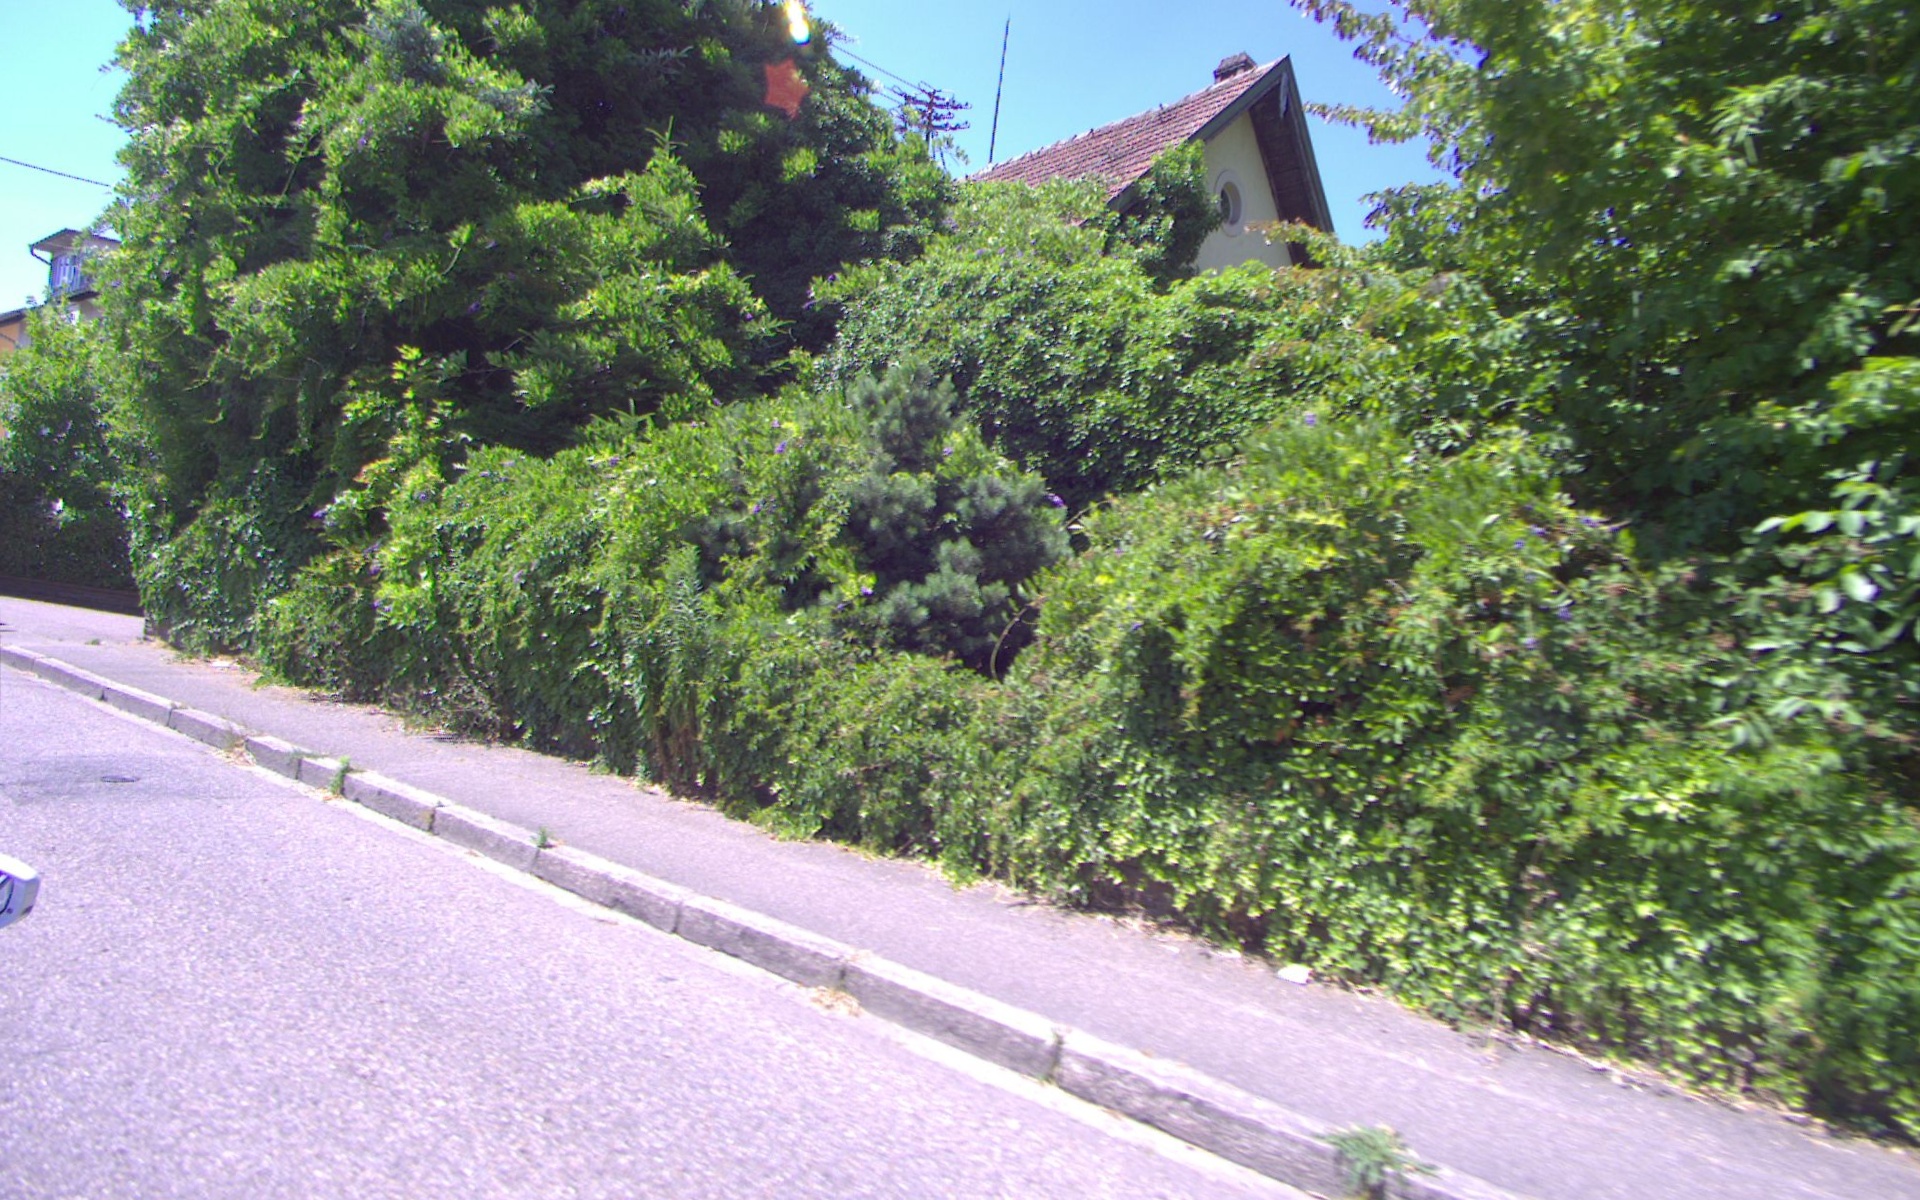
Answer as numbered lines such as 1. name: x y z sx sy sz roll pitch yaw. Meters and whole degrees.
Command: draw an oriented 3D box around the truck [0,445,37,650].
1. truck: -14.117 -0.985 12.332 6.069 2.334 2.020 6 -3 28
